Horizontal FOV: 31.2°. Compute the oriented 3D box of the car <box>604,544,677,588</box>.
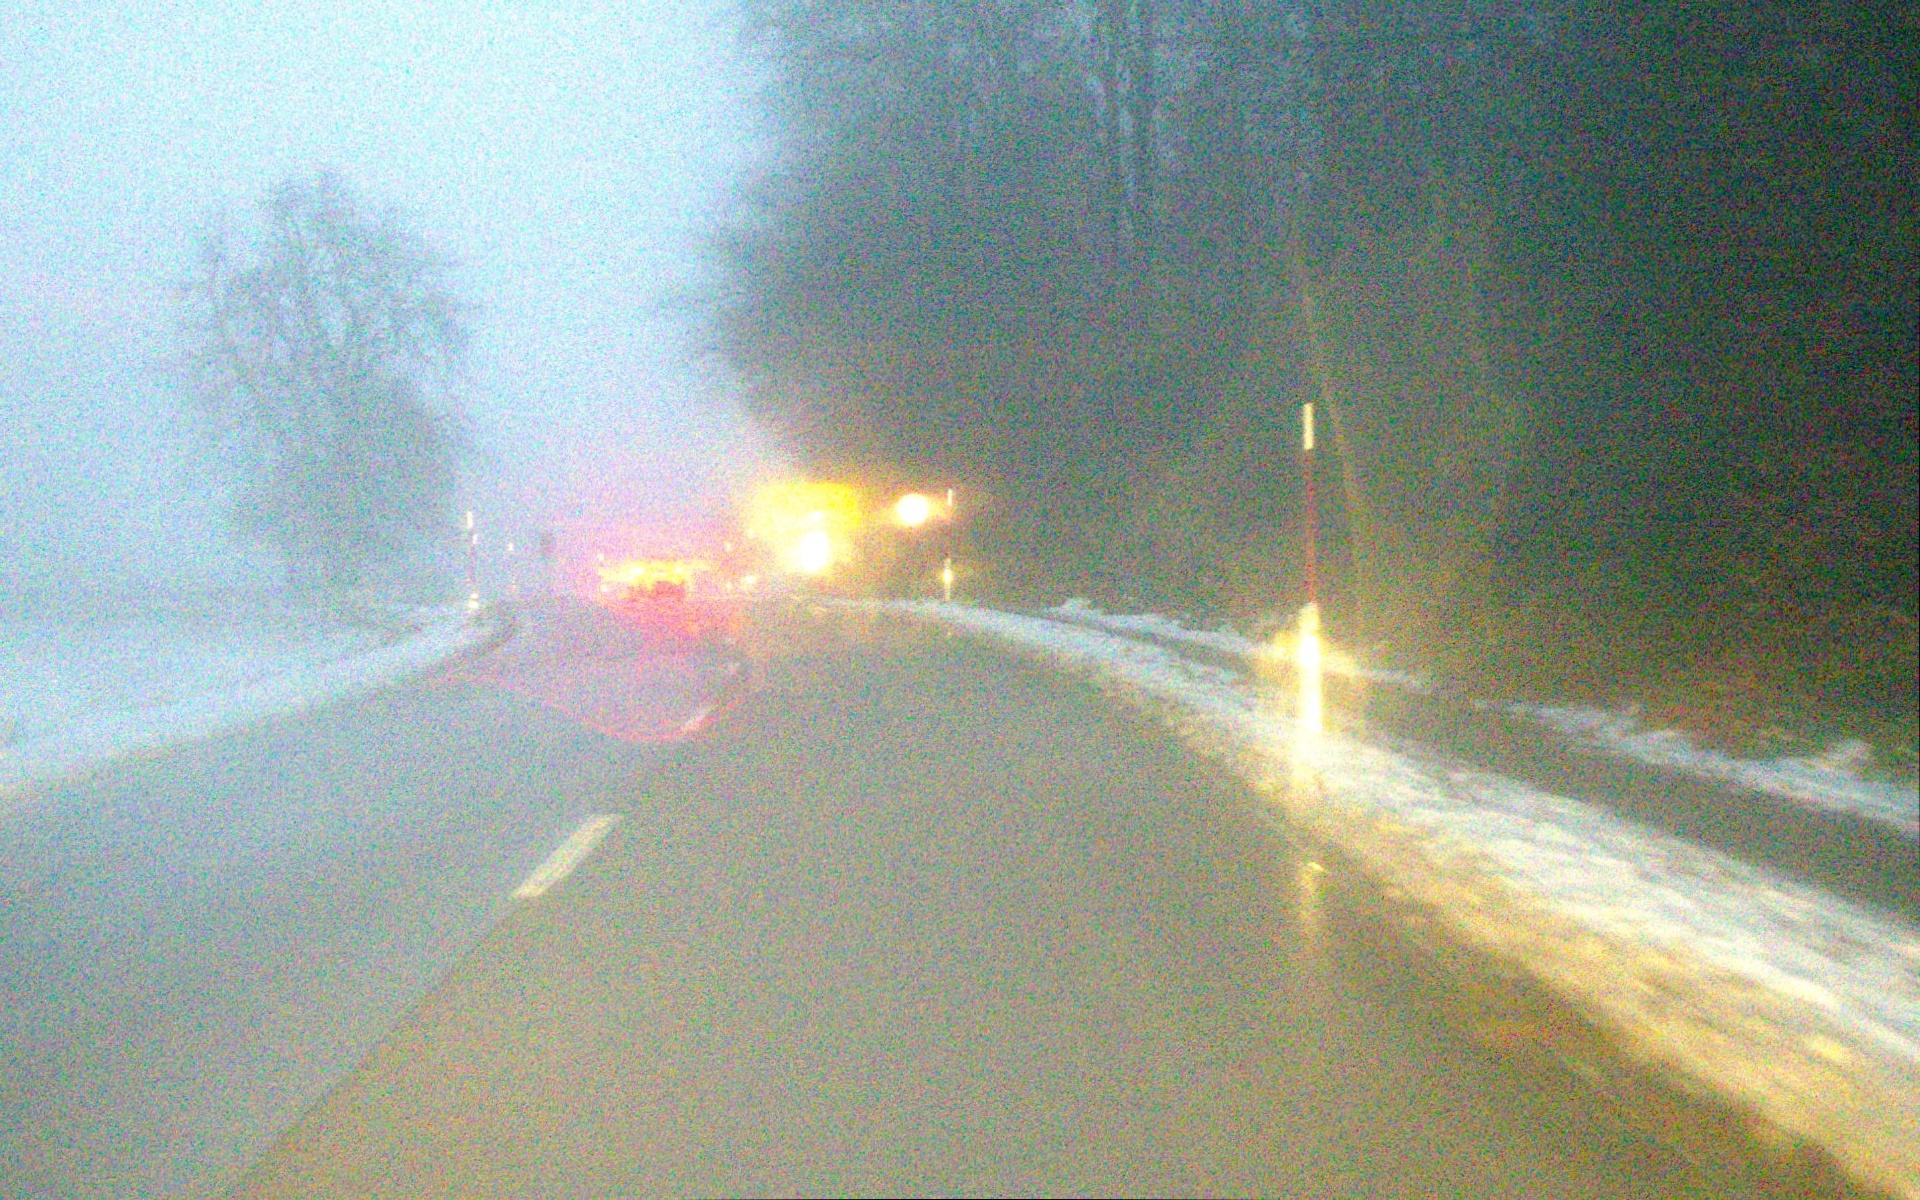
[{"bbox_3d":[-9.957,-1.067,107.310,1.922,1.272,4.000,-2,1,-1],"label":"car"}]
